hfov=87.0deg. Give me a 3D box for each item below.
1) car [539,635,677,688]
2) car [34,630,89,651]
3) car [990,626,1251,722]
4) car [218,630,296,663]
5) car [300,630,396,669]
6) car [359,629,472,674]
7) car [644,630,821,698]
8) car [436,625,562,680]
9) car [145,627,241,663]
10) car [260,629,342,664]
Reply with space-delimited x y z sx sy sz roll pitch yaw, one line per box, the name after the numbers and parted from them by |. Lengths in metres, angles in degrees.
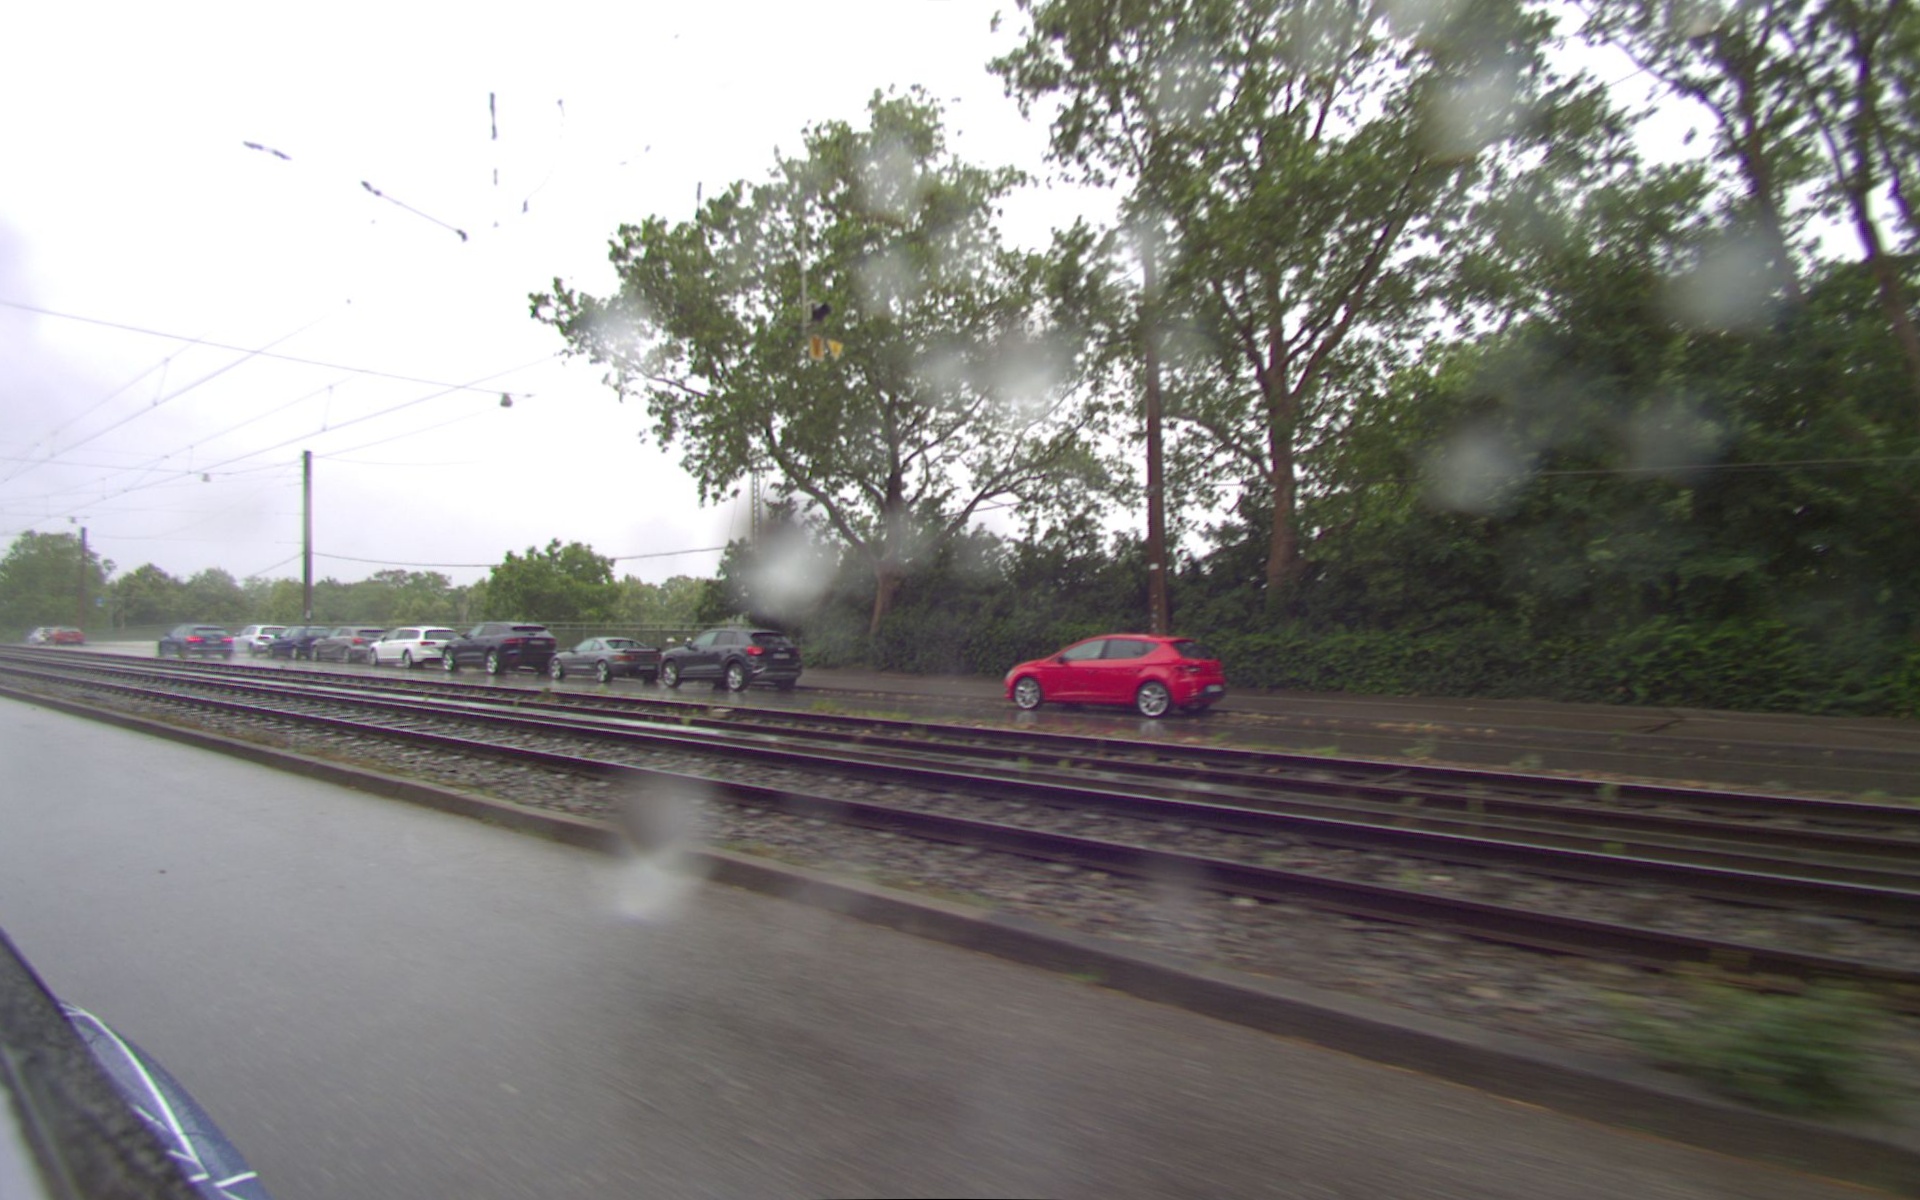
-10.088 1.727 28.937 3.960 1.389 1.867 -1 -3 38 | car
-64.629 2.908 72.771 4.909 1.478 2.014 -2 -2 37 | car
2.888 1.296 18.722 4.380 1.564 2.013 -1 -3 39 | car
-32.661 2.146 46.985 4.144 1.442 1.633 -1 -3 36 | car
-24.387 1.952 40.285 4.121 1.442 1.634 -1 -3 34 | car
-19.672 1.824 36.499 4.571 1.522 1.868 -1 -3 37 | car
-5.802 1.570 25.625 4.377 1.564 2.014 -1 -3 37 | car
-14.887 1.668 32.625 4.363 1.663 1.867 -1 -3 38 | car
-33.047 1.908 43.569 4.910 1.478 2.014 -1 -3 37 | car
-28.617 2.016 43.912 3.917 1.442 1.634 -1 -3 35 | car
